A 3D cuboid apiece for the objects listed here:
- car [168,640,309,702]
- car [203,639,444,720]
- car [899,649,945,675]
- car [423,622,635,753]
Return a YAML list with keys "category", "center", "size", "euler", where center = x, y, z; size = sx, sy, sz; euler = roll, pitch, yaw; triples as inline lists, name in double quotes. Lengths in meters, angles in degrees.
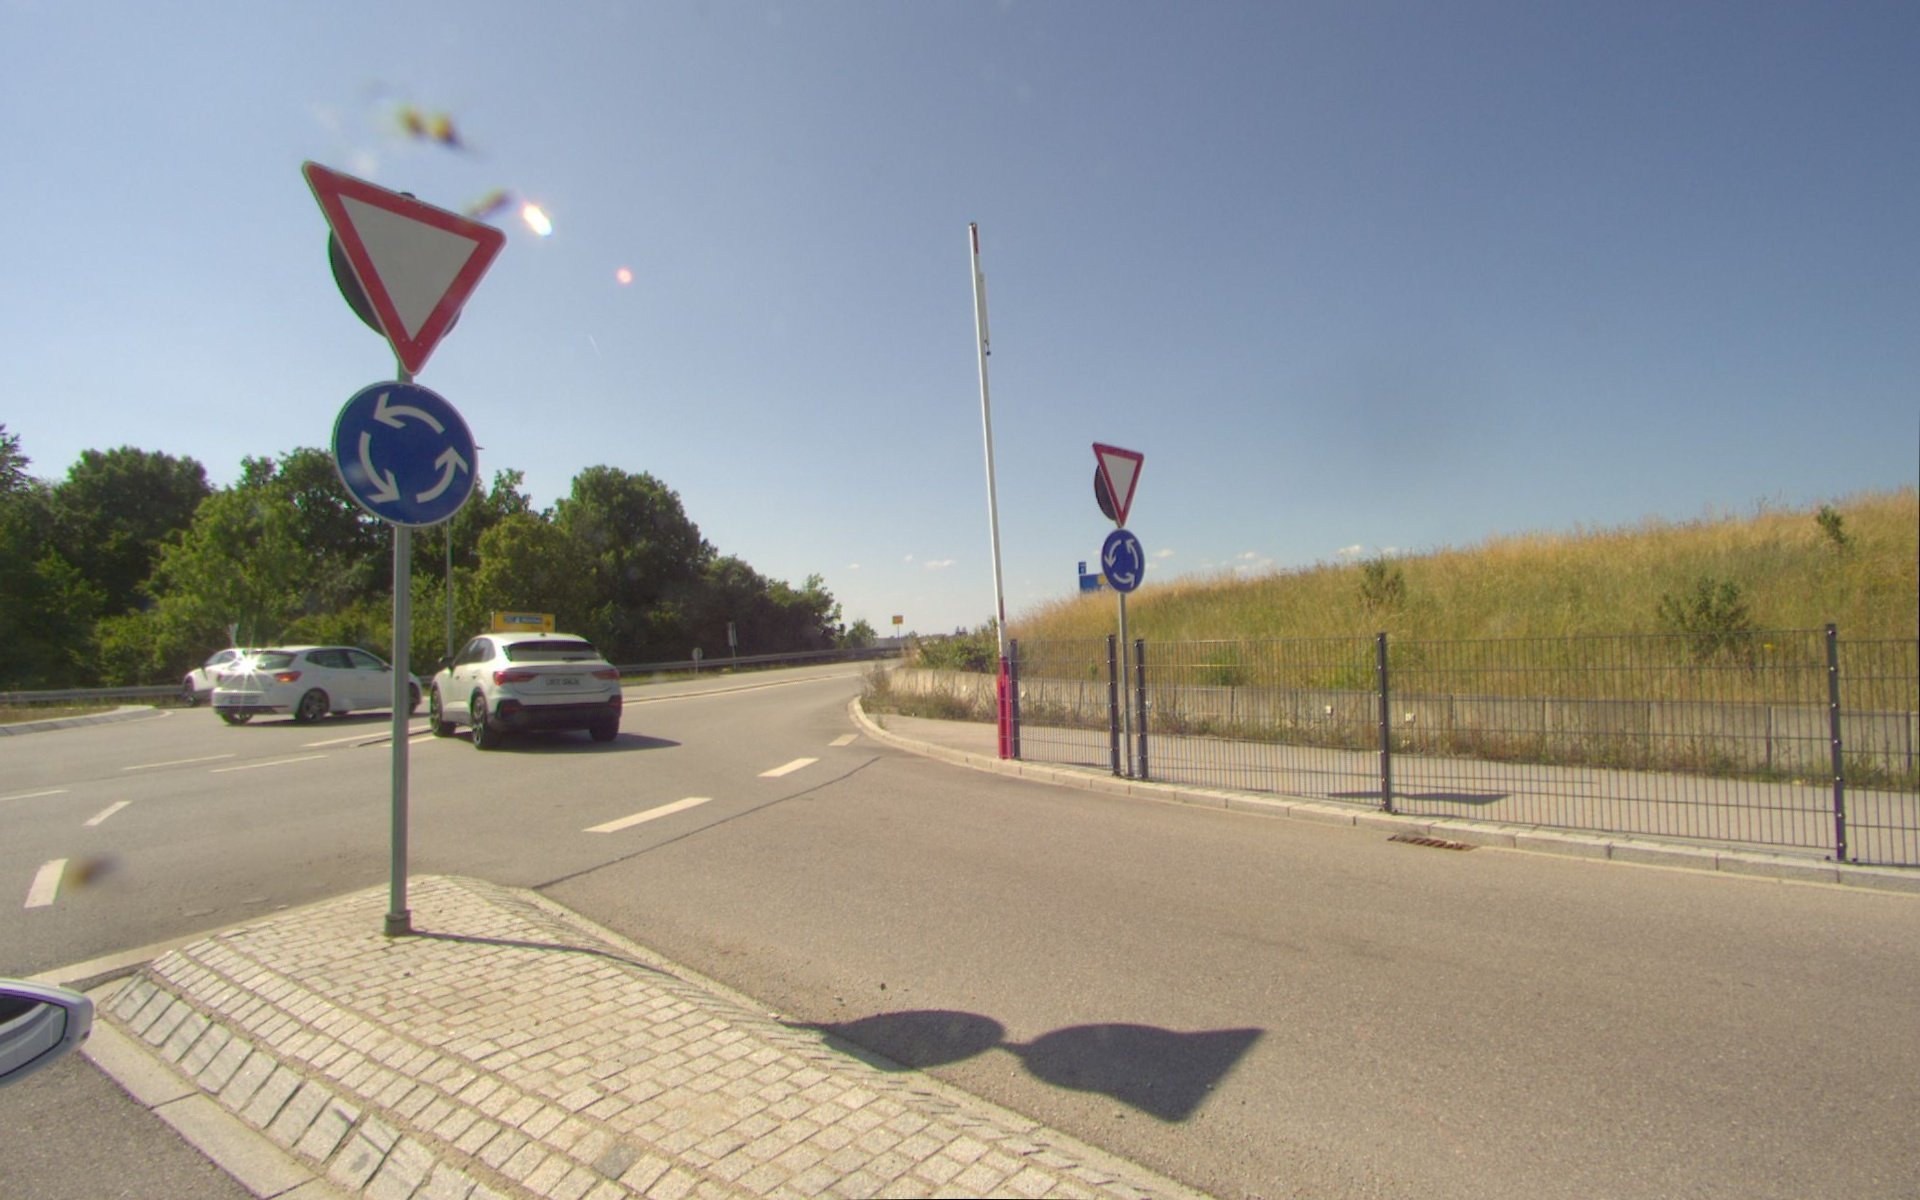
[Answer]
- category: "car"
  center: [-19.916, 1.947, 27.587]
  size: [4.231, 1.549, 1.781]
  euler: [-3, -2, 34]
- category: "car"
  center: [-12.363, 1.507, 19.853]
  size: [1.757, 1.422, 4.419]
  euler: [-1, -3, 4]
- category: "car"
  center: [-2.030, 3.370, 54.800]
  size: [1.543, 1.368, 4.341]
  euler: [-1, -3, 12]
- category: "car"
  center: [-6.454, 1.173, 14.725]
  size: [1.826, 1.616, 4.292]
  euler: [0, -2, -38]
